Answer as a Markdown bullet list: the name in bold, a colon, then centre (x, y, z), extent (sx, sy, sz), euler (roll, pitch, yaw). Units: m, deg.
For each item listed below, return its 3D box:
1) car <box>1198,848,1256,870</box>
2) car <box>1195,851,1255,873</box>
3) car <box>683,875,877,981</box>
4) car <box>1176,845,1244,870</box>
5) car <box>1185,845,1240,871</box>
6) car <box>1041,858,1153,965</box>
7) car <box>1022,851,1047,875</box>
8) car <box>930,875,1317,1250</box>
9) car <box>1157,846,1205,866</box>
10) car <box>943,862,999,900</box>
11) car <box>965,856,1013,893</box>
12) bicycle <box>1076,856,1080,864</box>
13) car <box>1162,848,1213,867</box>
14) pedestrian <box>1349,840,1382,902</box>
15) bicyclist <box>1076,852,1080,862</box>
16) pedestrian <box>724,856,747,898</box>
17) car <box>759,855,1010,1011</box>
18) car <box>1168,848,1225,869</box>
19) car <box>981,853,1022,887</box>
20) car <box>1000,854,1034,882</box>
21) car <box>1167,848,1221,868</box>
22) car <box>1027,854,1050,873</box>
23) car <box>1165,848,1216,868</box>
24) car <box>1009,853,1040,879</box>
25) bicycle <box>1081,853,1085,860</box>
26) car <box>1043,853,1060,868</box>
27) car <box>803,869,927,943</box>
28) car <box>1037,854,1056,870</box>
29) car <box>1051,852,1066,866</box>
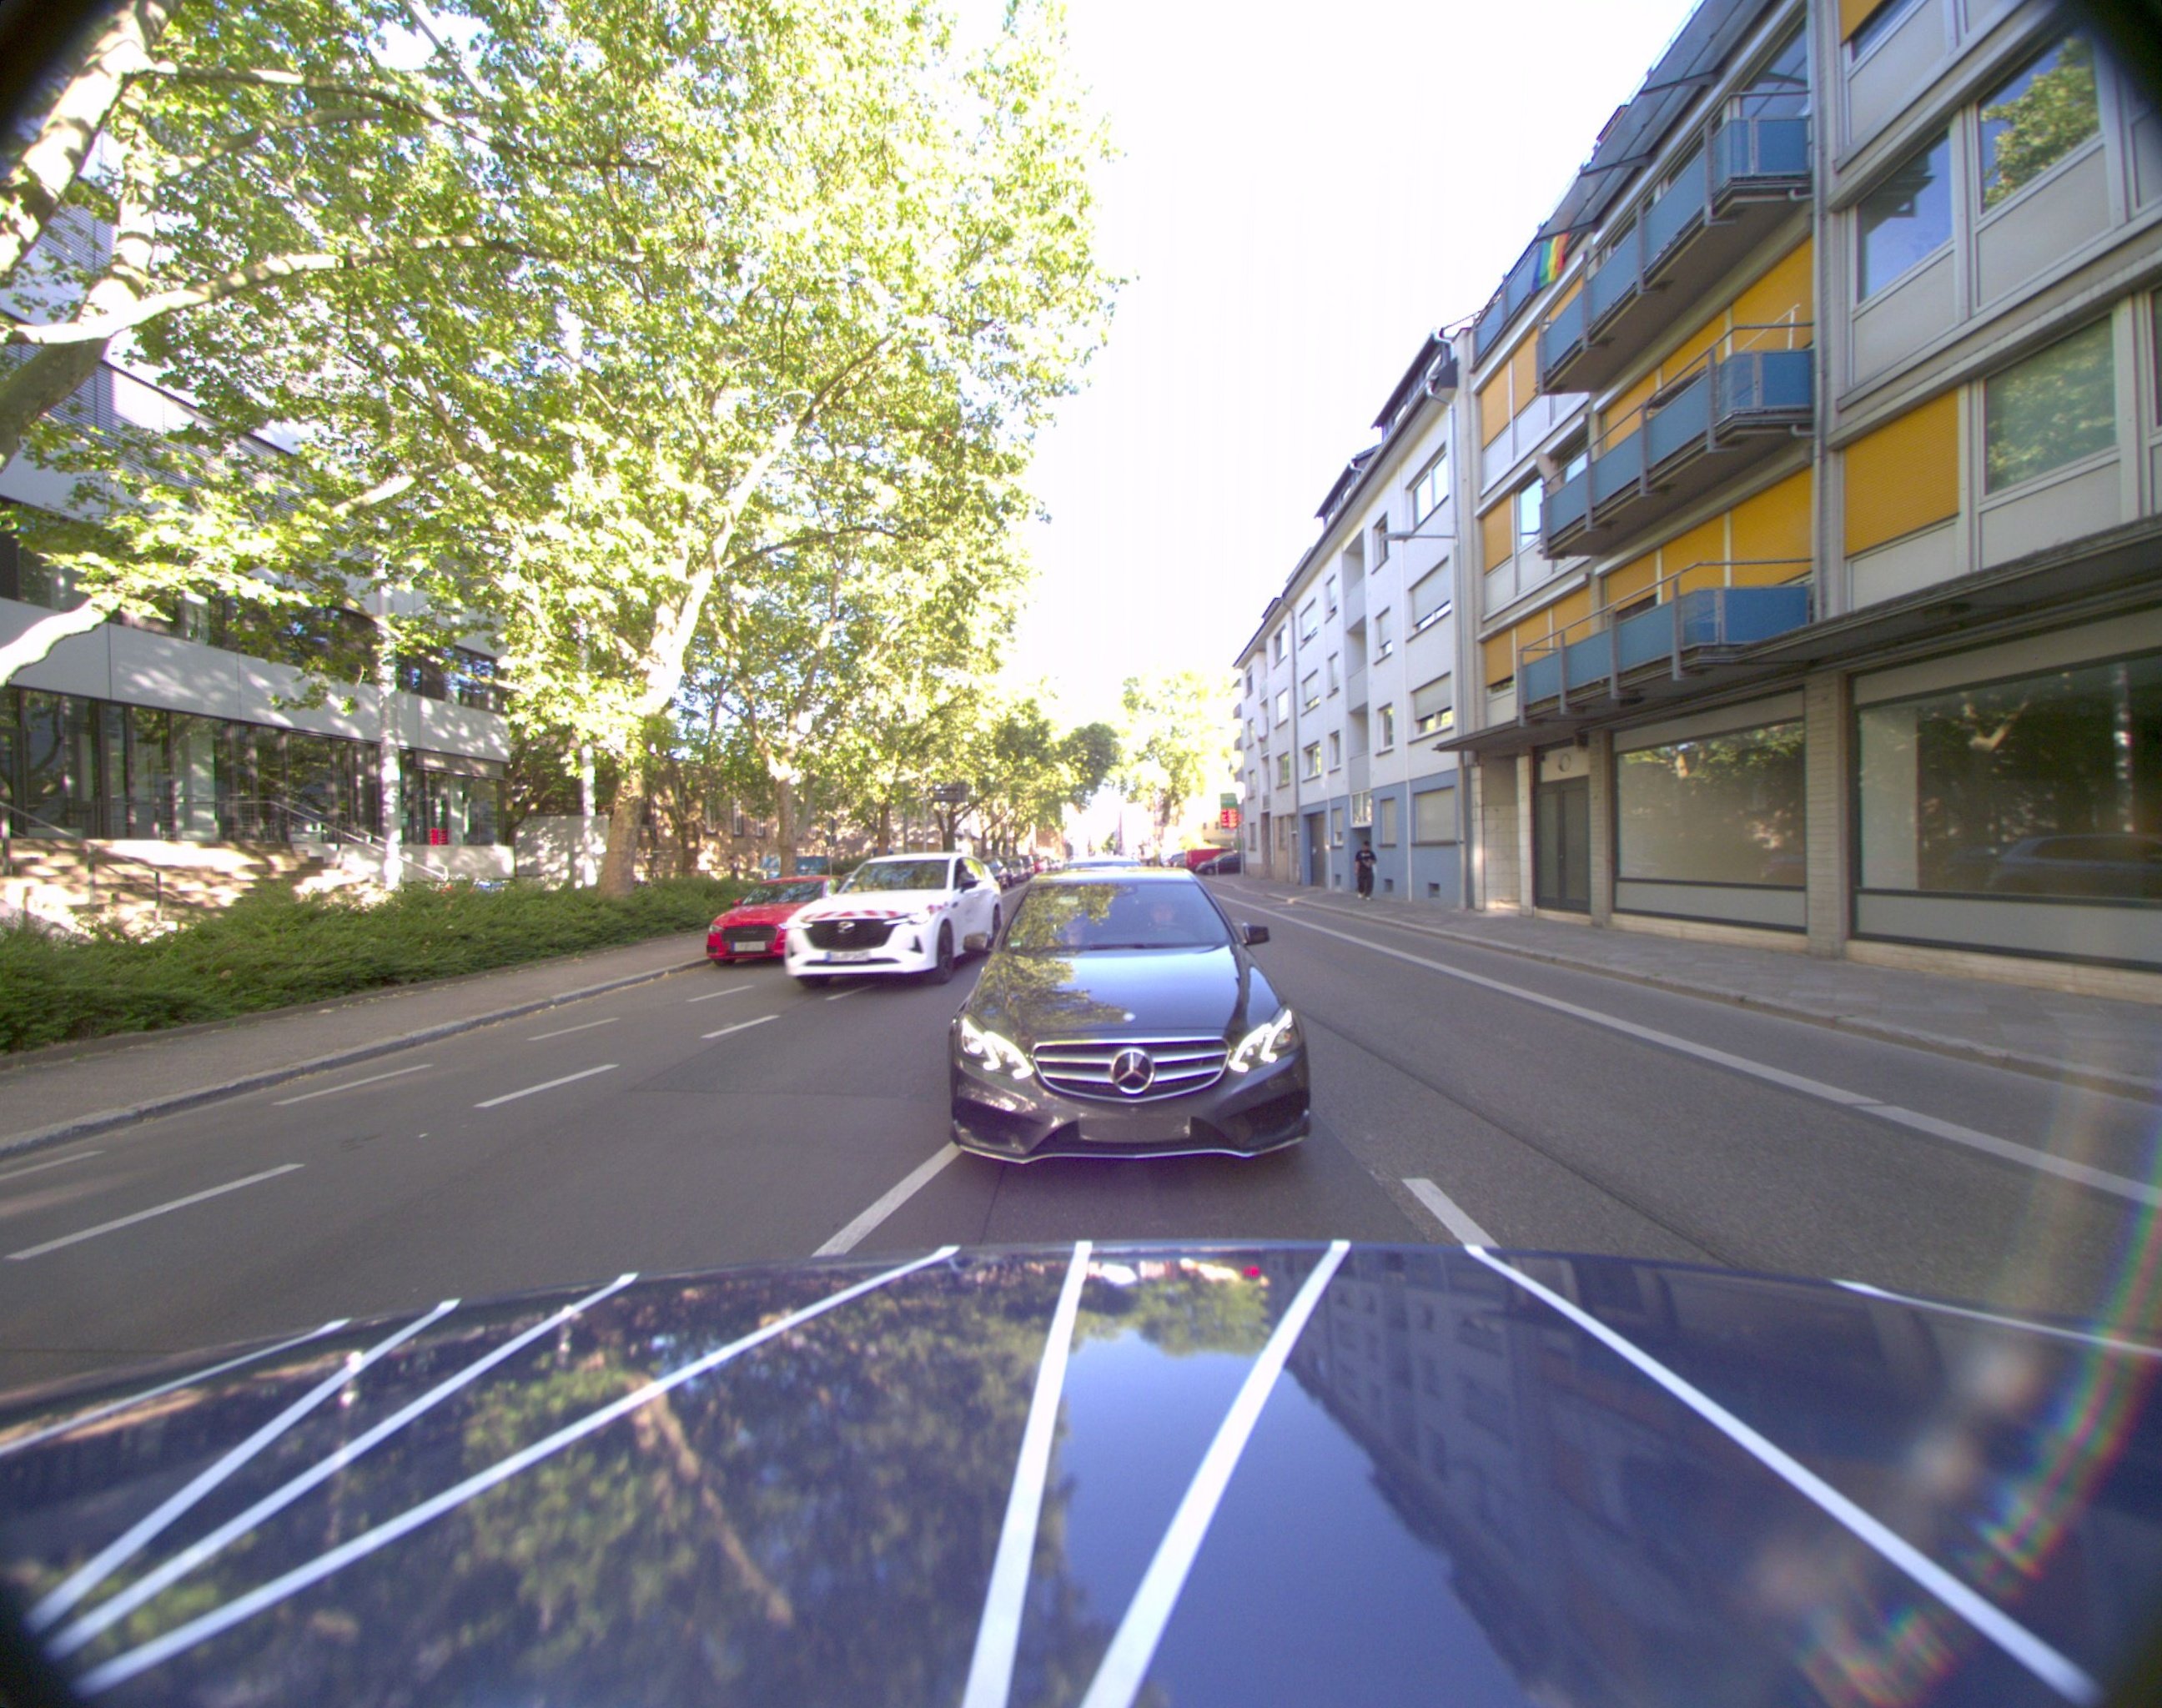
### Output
- **car**: centre (10.917, 0.386, 56.981), extent (3.997, 1.552, 1.743), euler (-2, 0, 1)
- **car**: centre (10.361, 0.557, 54.771), extent (3.997, 1.412, 1.743), euler (-2, 0, 1)
- **car**: centre (-5.130, 1.181, 13.588), extent (1.755, 1.400, 4.000), euler (-3, 0, 1)
- **car**: centre (10.641, 0.289, 63.096), extent (5.223, 1.969, 2.257), euler (-2, 0, 1)
- **car**: centre (10.336, 0.295, 60.071), extent (3.997, 1.926, 1.867), euler (-2, 0, 1)
- **car**: centre (0.273, 0.883, 13.600), extent (1.667, 1.563, 4.000), euler (-1, 0, 1)
- **car**: centre (-3.992, 0.729, 66.380), extent (1.755, 1.941, 4.447), euler (-3, 0, 1)
- **car**: centre (0.214, 0.979, 5.348), extent (1.667, 1.499, 4.000), euler (-1, 0, 1)
- **car**: centre (11.195, 0.197, 85.511), extent (5.143, 2.135, 2.187), euler (-2, 0, 1)
- **car**: centre (-4.746, 1.117, 33.284), extent (1.755, 1.424, 3.909), euler (-3, 0, 1)
- **car**: centre (-4.559, 0.975, 38.254), extent (1.755, 1.644, 4.174), euler (-3, 0, 1)
- **bicycle**: centre (-0.424, 0.903, 111.854), extent (0.650, 1.053, 1.595), euler (-2, 0, 1)
- **car**: centre (11.328, 0.343, 81.175), extent (5.042, 1.926, 2.315), euler (-2, 0, 1)
- **pedestrian**: centre (8.347, 0.479, 22.317), extent (0.663, 1.761, 0.793), euler (-2, 1, 6)
- **bicyclist**: centre (-0.439, 0.430, 111.837), extent (0.650, 1.427, 0.741), euler (-2, 1, 1)
- **pedestrian**: centre (-13.841, 0.908, 30.441), extent (0.525, 1.660, 0.661), euler (-2, 1, 2)
- **car**: centre (-2.490, 0.922, 10.983), extent (1.947, 1.698, 4.485), euler (-3, 0, 6)
- **car**: centre (11.105, 0.439, 73.511), extent (5.143, 1.926, 2.187), euler (-2, 0, 1)
- **car**: centre (-4.549, 0.870, 44.053), extent (1.755, 1.810, 4.447), euler (-3, 0, 1)
- **car**: centre (-4.268, 0.879, 50.936), extent (1.755, 1.718, 4.447), euler (-3, 0, 1)
- **car**: centre (11.277, 0.400, 76.212), extent (5.054, 1.926, 2.161), euler (-2, 0, 1)
- **car**: centre (-3.997, 0.903, 72.166), extent (1.755, 1.652, 4.447), euler (-3, 0, 1)
- **car**: centre (11.292, 0.368, 78.710), extent (4.991, 1.926, 2.083), euler (-2, 0, 1)
- **car**: centre (-4.098, 0.822, 55.747), extent (1.755, 1.753, 4.447), euler (-3, 0, 1)
- **bicycle**: centre (0.265, 0.388, 111.740), extent (0.574, 1.053, 1.595), euler (-2, 0, 1)
- **car**: centre (-3.641, 0.774, 92.995), extent (1.755, 1.652, 4.447), euler (-3, 0, 1)
- **car**: centre (-5.082, 1.171, 18.434), extent (1.755, 1.424, 3.909), euler (-3, 0, 1)
- **car**: centre (-3.770, 0.871, 83.506), extent (1.755, 1.652, 4.447), euler (-3, 0, 1)
- **car**: centre (-3.009, 0.651, 103.194), extent (1.755, 1.652, 4.447), euler (-3, 0, 1)
